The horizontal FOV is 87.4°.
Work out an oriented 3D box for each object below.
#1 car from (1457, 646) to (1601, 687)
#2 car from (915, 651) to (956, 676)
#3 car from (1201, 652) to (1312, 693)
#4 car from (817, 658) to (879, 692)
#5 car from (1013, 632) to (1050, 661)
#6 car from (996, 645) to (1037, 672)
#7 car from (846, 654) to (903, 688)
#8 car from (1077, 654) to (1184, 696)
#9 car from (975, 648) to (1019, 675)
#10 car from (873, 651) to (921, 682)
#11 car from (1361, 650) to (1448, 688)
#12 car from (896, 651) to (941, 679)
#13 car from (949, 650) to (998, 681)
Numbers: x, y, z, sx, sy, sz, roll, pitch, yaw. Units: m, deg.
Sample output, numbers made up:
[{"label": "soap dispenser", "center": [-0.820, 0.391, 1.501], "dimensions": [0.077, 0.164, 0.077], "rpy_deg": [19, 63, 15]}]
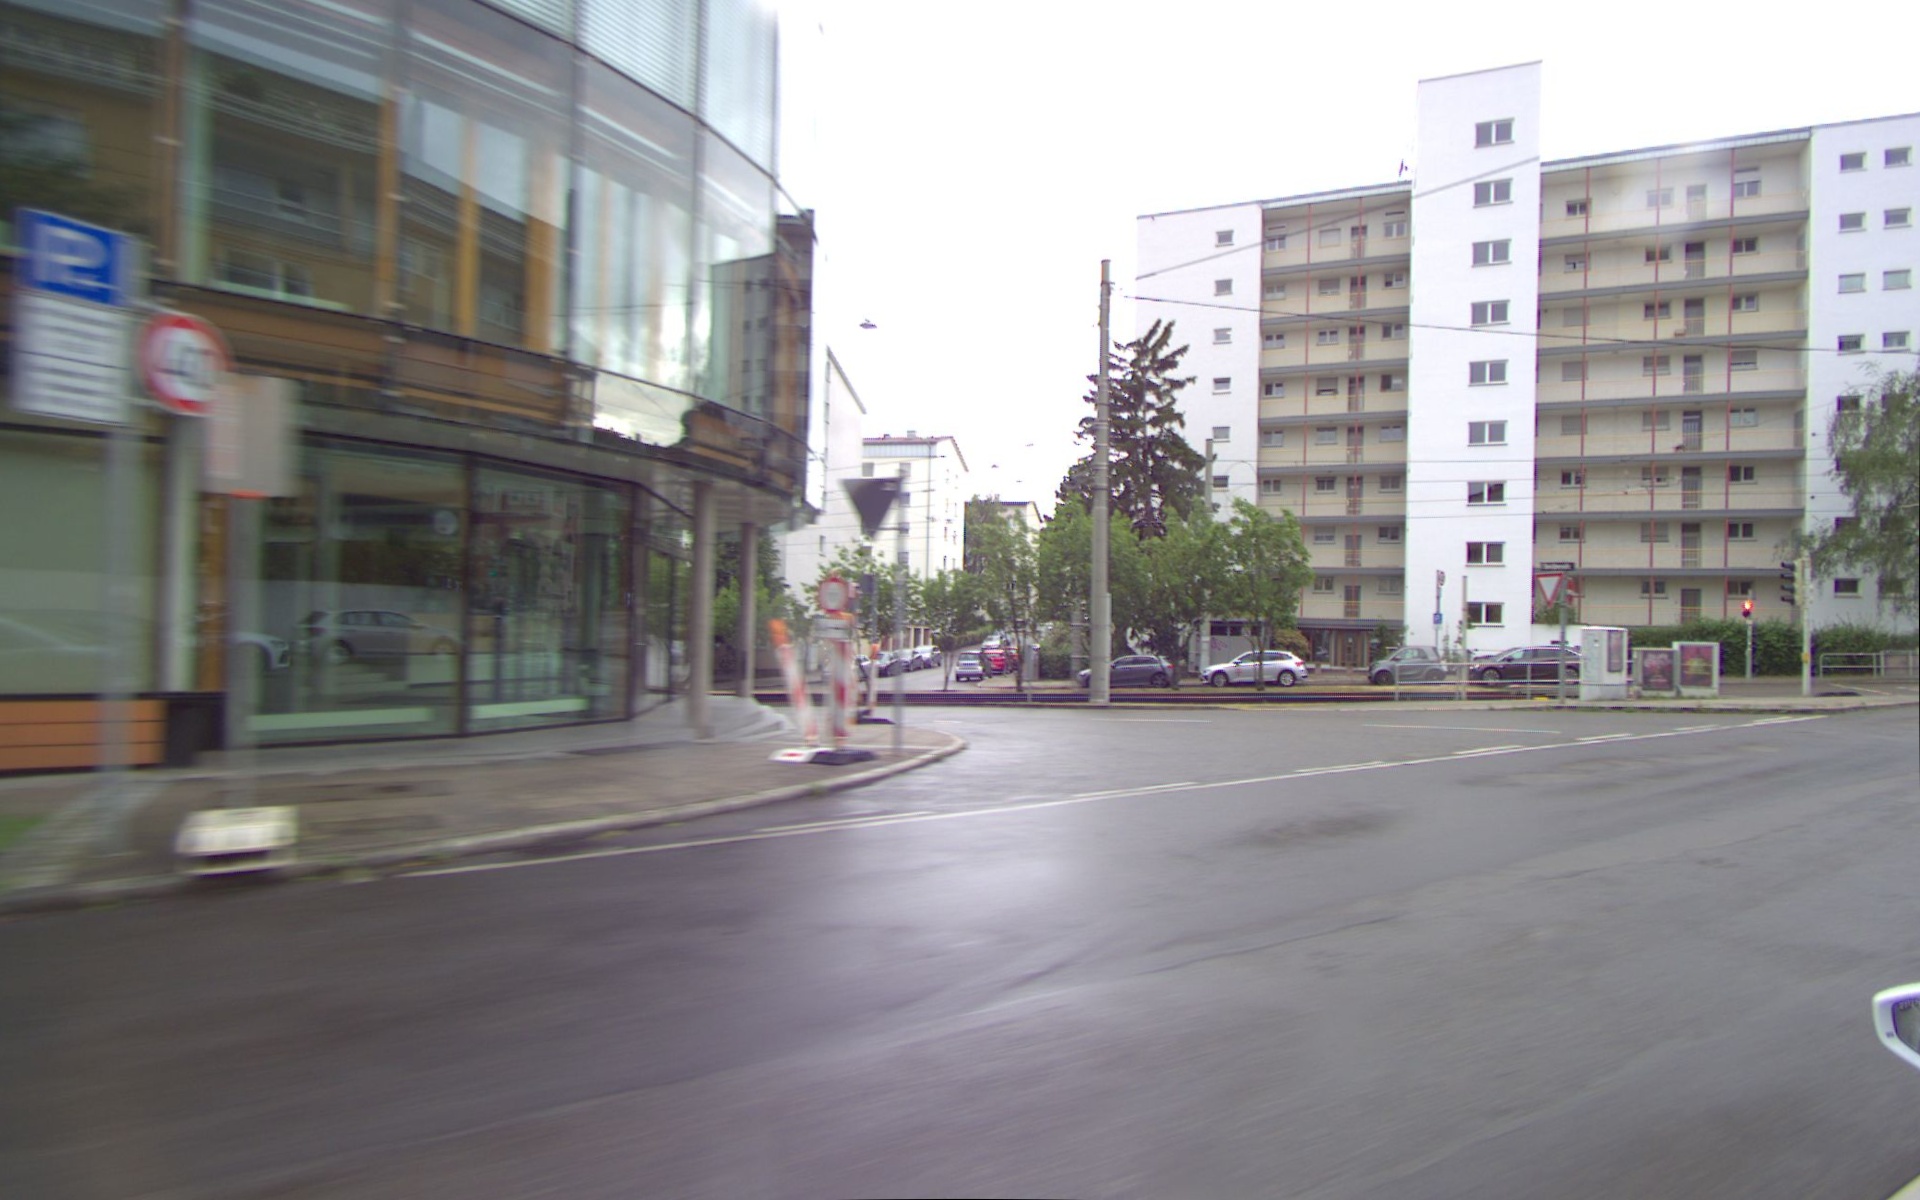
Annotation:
[{"label": "car", "center": [21.647, 2.543, 38.414], "dimensions": [4.402, 1.480, 1.876], "rpy_deg": [-2, -4, 16]}, {"label": "car", "center": [-1.752, 4.627, 73.564], "dimensions": [1.959, 1.550, 4.003], "rpy_deg": [2, -1, 14]}, {"label": "car", "center": [12.141, 2.971, 41.270], "dimensions": [4.225, 1.528, 2.001], "rpy_deg": [-2, -1, 16]}, {"label": "car", "center": [-6.086, 4.056, 55.080], "dimensions": [1.959, 1.583, 4.195], "rpy_deg": [2, -1, 14]}, {"label": "car", "center": [5.223, 3.323, 72.489], "dimensions": [1.959, 1.923, 4.003], "rpy_deg": [2, -1, 14]}, {"label": "car", "center": [3.784, 3.828, 66.181], "dimensions": [1.959, 1.552, 4.003], "rpy_deg": [2, -1, 14]}, {"label": "car", "center": [-4.993, 4.179, 59.656], "dimensions": [1.959, 1.684, 4.588], "rpy_deg": [2, -1, 14]}, {"label": "car", "center": [7.232, 3.156, 42.420], "dimensions": [4.226, 1.527, 2.001], "rpy_deg": [-3, -2, 15]}, {"label": "car", "center": [2.239, 3.675, 60.531], "dimensions": [1.838, 1.461, 4.003], "rpy_deg": [2, -1, 14]}, {"label": "car", "center": [-3.990, 4.241, 64.272], "dimensions": [1.959, 1.750, 4.003], "rpy_deg": [2, -1, 14]}, {"label": "car", "center": [17.512, 2.708, 39.672], "dimensions": [2.835, 1.411, 1.812], "rpy_deg": [-2, -2, 15]}, {"label": "car", "center": [-2.804, 4.432, 69.032], "dimensions": [1.959, 1.661, 4.003], "rpy_deg": [2, -1, 14]}, {"label": "car", "center": [0.776, 3.544, 54.603], "dimensions": [1.789, 1.462, 4.003], "rpy_deg": [2, -1, 14]}]
